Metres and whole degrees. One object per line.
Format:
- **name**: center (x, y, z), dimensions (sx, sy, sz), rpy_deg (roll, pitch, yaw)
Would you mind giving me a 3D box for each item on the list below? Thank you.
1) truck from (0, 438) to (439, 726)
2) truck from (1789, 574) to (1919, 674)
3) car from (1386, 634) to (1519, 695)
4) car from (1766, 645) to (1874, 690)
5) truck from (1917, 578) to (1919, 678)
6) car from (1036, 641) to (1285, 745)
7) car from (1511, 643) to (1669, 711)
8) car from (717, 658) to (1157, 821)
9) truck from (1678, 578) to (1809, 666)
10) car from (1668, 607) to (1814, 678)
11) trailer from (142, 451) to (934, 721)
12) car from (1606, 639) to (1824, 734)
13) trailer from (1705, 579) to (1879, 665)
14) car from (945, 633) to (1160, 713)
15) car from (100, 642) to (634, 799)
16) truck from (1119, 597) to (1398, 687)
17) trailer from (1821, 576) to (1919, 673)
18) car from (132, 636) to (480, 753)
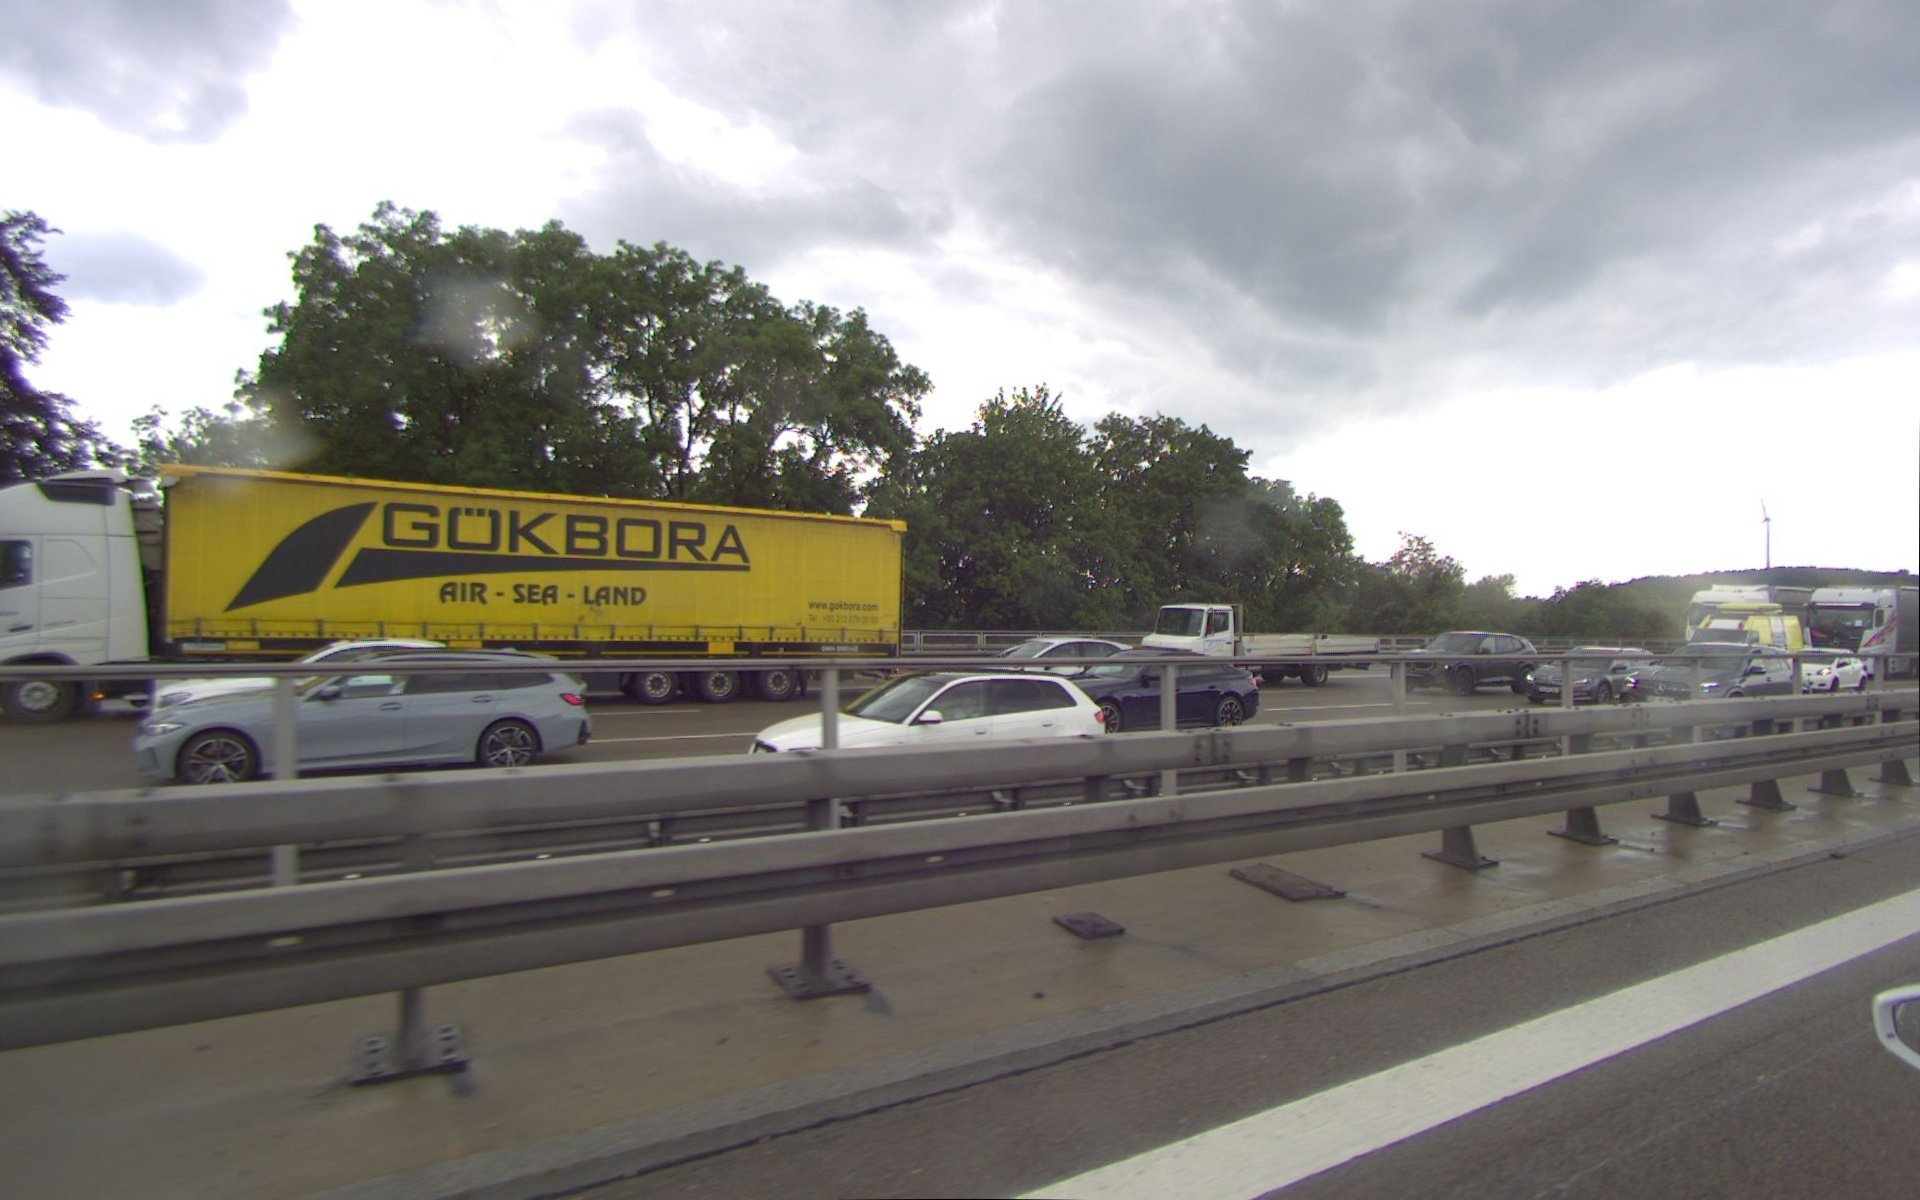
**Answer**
- **truck**: center (-13.113, -0.192, 17.692), dimensions (6.802, 4.306, 3.232), rpy_deg (1, -1, -31)
- **truck**: center (40.635, 1.106, 45.142), dimensions (7.015, 4.202, 2.891), rpy_deg (1, -1, -29)
- **car**: center (14.095, 1.815, 28.694), dimensions (3.954, 1.617, 1.526), rpy_deg (1, -1, -31)
- **car**: center (29.223, 2.265, 34.119), dimensions (4.053, 1.405, 1.594), rpy_deg (1, -1, -31)
- **truck**: center (44.662, 1.256, 43.442), dimensions (7.470, 4.235, 2.866), rpy_deg (1, -1, -31)
- **car**: center (3.616, 1.552, 17.799), dimensions (4.370, 1.597, 1.738), rpy_deg (1, -2, -33)
- **car**: center (16.616, 1.964, 26.420), dimensions (4.638, 1.597, 1.738), rpy_deg (1, -2, -33)
- **car**: center (-0.142, 1.409, 11.338), dimensions (4.768, 1.401, 1.752), rpy_deg (1, -2, -33)
- **truck**: center (38.106, 1.087, 48.809), dimensions (6.497, 4.046, 2.747), rpy_deg (1, -1, -29)
- **car**: center (29.964, 1.596, 38.465), dimensions (6.694, 2.537, 2.145), rpy_deg (1, -1, -31)
- **trailer**: center (-7.574, -0.051, 21.018), dimensions (14.342, 4.284, 3.231), rpy_deg (1, -1, -31)
- **car**: center (16.178, 1.751, 21.444), dimensions (5.270, 1.790, 1.904), rpy_deg (2, -1, -31)
- **trailer**: center (42.812, 1.183, 51.493), dimensions (12.158, 4.046, 2.746), rpy_deg (1, -1, -30)
- **car**: center (1.985, 1.467, 21.088), dimensions (4.370, 1.498, 1.738), rpy_deg (1, -2, -33)
- **car**: center (-6.776, 1.272, 12.070), dimensions (5.165, 1.499, 1.798), rpy_deg (1, -2, -34)
- **truck**: center (9.237, 1.246, 30.518), dimensions (9.168, 2.403, 2.667), rpy_deg (1, -1, -31)
- **trailer**: center (45.880, 1.221, 48.087), dimensions (12.870, 4.200, 2.868), rpy_deg (1, -1, -29)
- **car**: center (-9.322, 1.269, 14.630), dimensions (4.010, 1.457, 1.812), rpy_deg (1, -2, -34)
